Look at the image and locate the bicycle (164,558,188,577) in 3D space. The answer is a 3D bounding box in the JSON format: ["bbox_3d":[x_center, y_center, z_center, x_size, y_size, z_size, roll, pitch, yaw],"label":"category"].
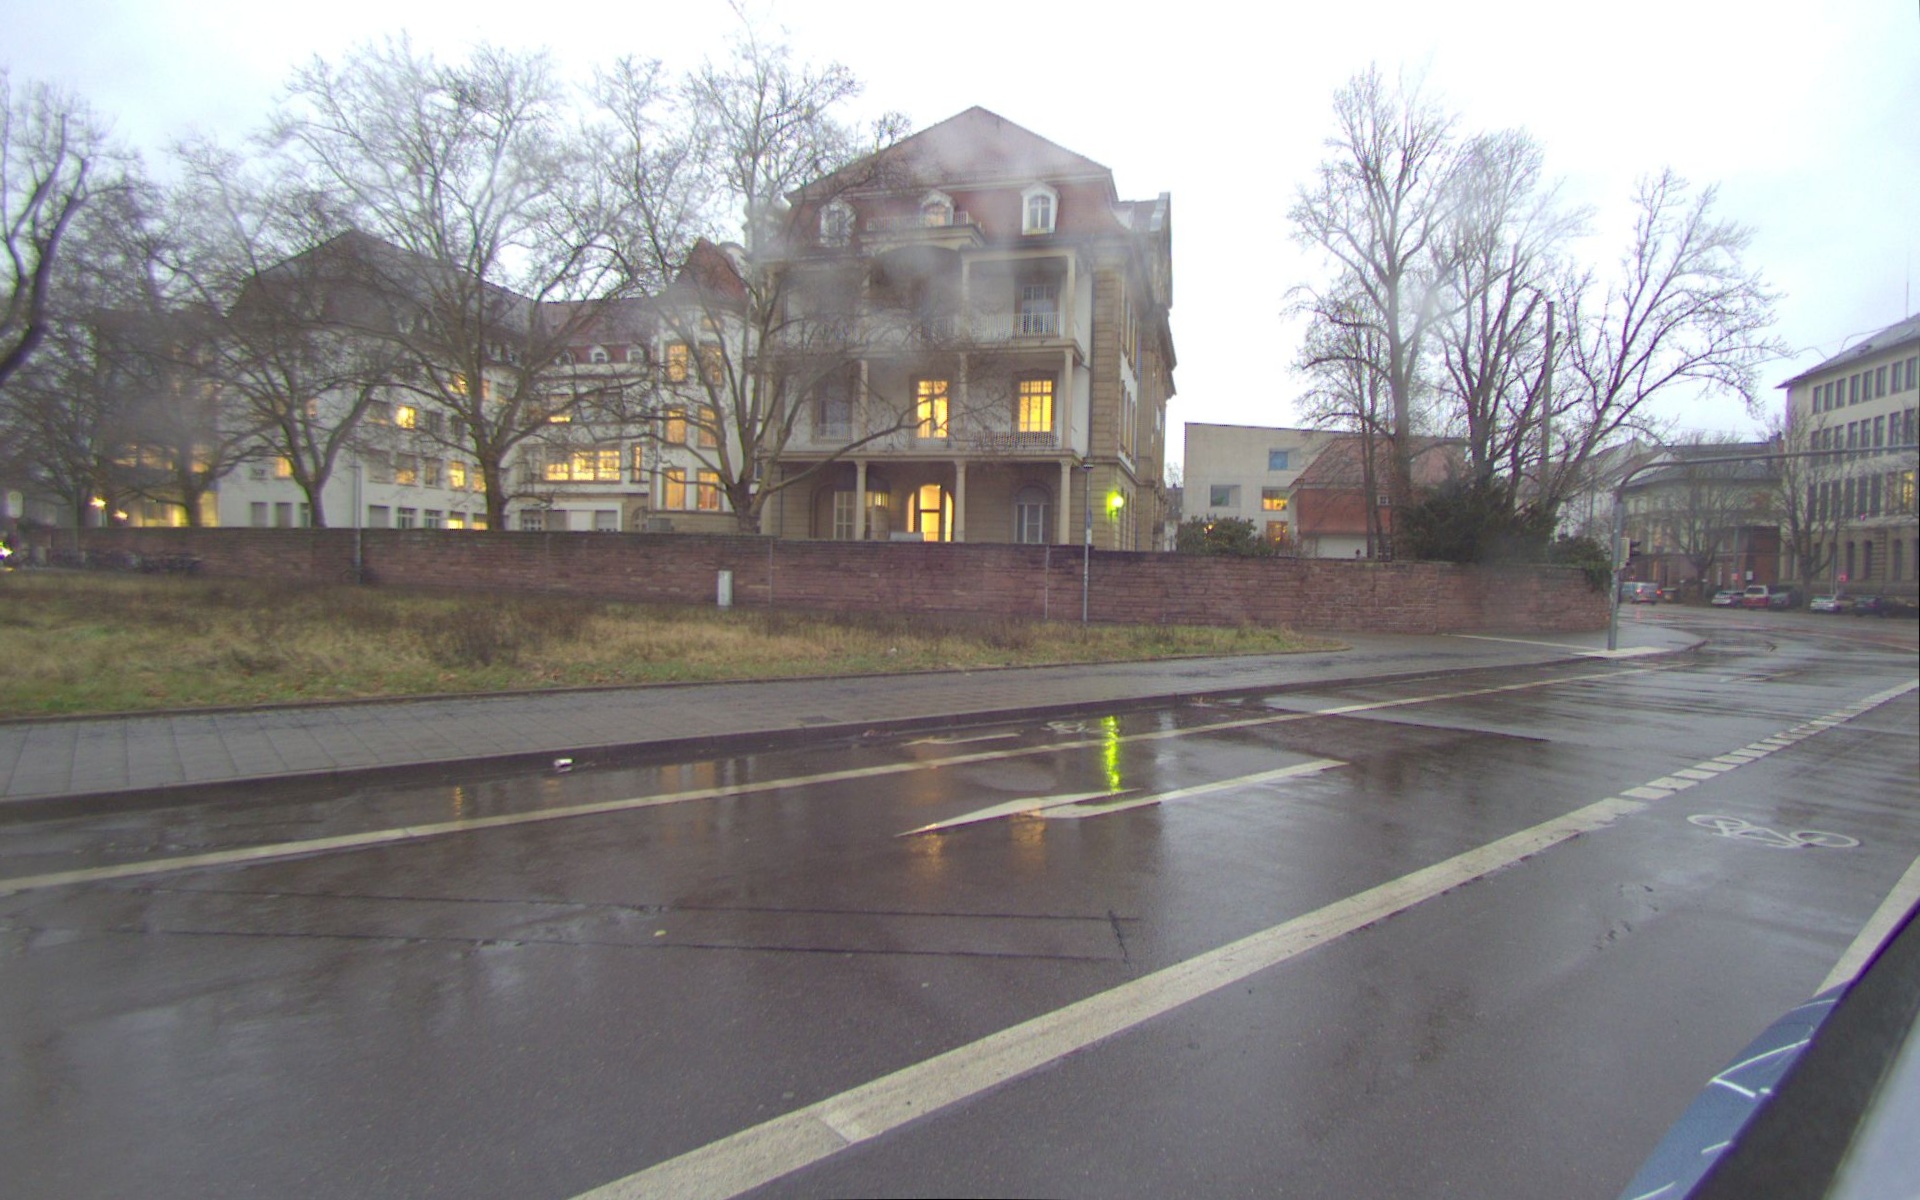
[{"bbox_3d":[-35.548,-1.465,45.857,1.519,0.796,0.389,0,0,33],"label":"bicycle"}]

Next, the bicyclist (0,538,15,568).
[{"bbox_3d":[-53.912,-2.658,57.230,0.450,1.662,0.603,0,0,37],"label":"bicyclist"}]

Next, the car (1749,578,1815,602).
[{"bbox_3d":[64.982,-0.793,80.027,3.916,1.924,2.052,0,0,-13],"label":"car"}]

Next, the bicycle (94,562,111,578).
[{"bbox_3d":[-43.129,-1.491,50.894,1.522,0.796,0.389,0,0,38],"label":"bicycle"}]

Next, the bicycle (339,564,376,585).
[{"bbox_3d":[-23.382,-0.986,39.270,1.366,0.835,0.392,0,0,14],"label":"bicycle"}]

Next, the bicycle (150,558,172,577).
[{"bbox_3d":[-37.028,-1.494,46.883,1.480,0.849,0.346,0,0,32],"label":"bicycle"}]

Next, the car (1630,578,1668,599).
[{"bbox_3d":[61.657,-1.044,90.614,1.861,1.868,3.973,0,0,21],"label":"car"}]

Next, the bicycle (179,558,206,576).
[{"bbox_3d":[-34.208,-1.465,45.108,1.399,0.796,0.355,0,0,26],"label":"bicycle"}]

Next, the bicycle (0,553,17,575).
[{"bbox_3d":[-53.904,-2.028,57.220,1.670,1.182,0.603,0,0,37],"label":"bicycle"}]

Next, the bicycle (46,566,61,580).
[{"bbox_3d":[-51.607,-1.542,57.589,1.522,0.796,0.389,0,0,38],"label":"bicycle"}]

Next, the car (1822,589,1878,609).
[{"bbox_3d":[63.603,-0.083,72.304,3.568,1.322,1.712,-1,0,-25],"label":"car"}]

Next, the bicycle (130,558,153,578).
[{"bbox_3d":[-38.624,-1.503,47.765,1.519,0.869,0.389,0,0,33],"label":"bicycle"}]

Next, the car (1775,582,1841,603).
[{"bbox_3d":[64.700,-0.587,77.229,3.916,1.570,1.805,0,0,-13],"label":"car"}]

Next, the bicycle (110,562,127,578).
[{"bbox_3d":[-41.472,-1.472,49.874,1.599,0.796,0.388,0,0,41],"label":"bicycle"}]

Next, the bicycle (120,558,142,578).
[{"bbox_3d":[-39.906,-1.536,48.719,1.519,0.928,0.389,0,0,33],"label":"bicycle"}]

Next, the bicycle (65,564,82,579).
[{"bbox_3d":[-47.894,-1.534,54.671,1.522,0.796,0.389,0,0,38],"label":"bicycle"}]

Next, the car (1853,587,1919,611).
[{"bbox_3d":[61.964,-0.062,67.009,3.927,1.570,1.800,0,0,4],"label":"car"}]

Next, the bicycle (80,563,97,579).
[{"bbox_3d":[-45.440,-1.528,52.738,1.522,0.796,0.389,0,0,38],"label":"bicycle"}]

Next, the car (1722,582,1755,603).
[{"bbox_3d":[66.481,-0.646,86.391,1.992,1.690,3.940,0,1,42],"label":"car"}]

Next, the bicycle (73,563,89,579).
[{"bbox_3d":[-46.670,-1.531,53.717,1.522,0.796,0.389,0,0,38],"label":"bicycle"}]

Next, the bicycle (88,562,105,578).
[{"bbox_3d":[-44.176,-1.525,51.765,1.522,0.796,0.389,0,0,38],"label":"bicycle"}]
